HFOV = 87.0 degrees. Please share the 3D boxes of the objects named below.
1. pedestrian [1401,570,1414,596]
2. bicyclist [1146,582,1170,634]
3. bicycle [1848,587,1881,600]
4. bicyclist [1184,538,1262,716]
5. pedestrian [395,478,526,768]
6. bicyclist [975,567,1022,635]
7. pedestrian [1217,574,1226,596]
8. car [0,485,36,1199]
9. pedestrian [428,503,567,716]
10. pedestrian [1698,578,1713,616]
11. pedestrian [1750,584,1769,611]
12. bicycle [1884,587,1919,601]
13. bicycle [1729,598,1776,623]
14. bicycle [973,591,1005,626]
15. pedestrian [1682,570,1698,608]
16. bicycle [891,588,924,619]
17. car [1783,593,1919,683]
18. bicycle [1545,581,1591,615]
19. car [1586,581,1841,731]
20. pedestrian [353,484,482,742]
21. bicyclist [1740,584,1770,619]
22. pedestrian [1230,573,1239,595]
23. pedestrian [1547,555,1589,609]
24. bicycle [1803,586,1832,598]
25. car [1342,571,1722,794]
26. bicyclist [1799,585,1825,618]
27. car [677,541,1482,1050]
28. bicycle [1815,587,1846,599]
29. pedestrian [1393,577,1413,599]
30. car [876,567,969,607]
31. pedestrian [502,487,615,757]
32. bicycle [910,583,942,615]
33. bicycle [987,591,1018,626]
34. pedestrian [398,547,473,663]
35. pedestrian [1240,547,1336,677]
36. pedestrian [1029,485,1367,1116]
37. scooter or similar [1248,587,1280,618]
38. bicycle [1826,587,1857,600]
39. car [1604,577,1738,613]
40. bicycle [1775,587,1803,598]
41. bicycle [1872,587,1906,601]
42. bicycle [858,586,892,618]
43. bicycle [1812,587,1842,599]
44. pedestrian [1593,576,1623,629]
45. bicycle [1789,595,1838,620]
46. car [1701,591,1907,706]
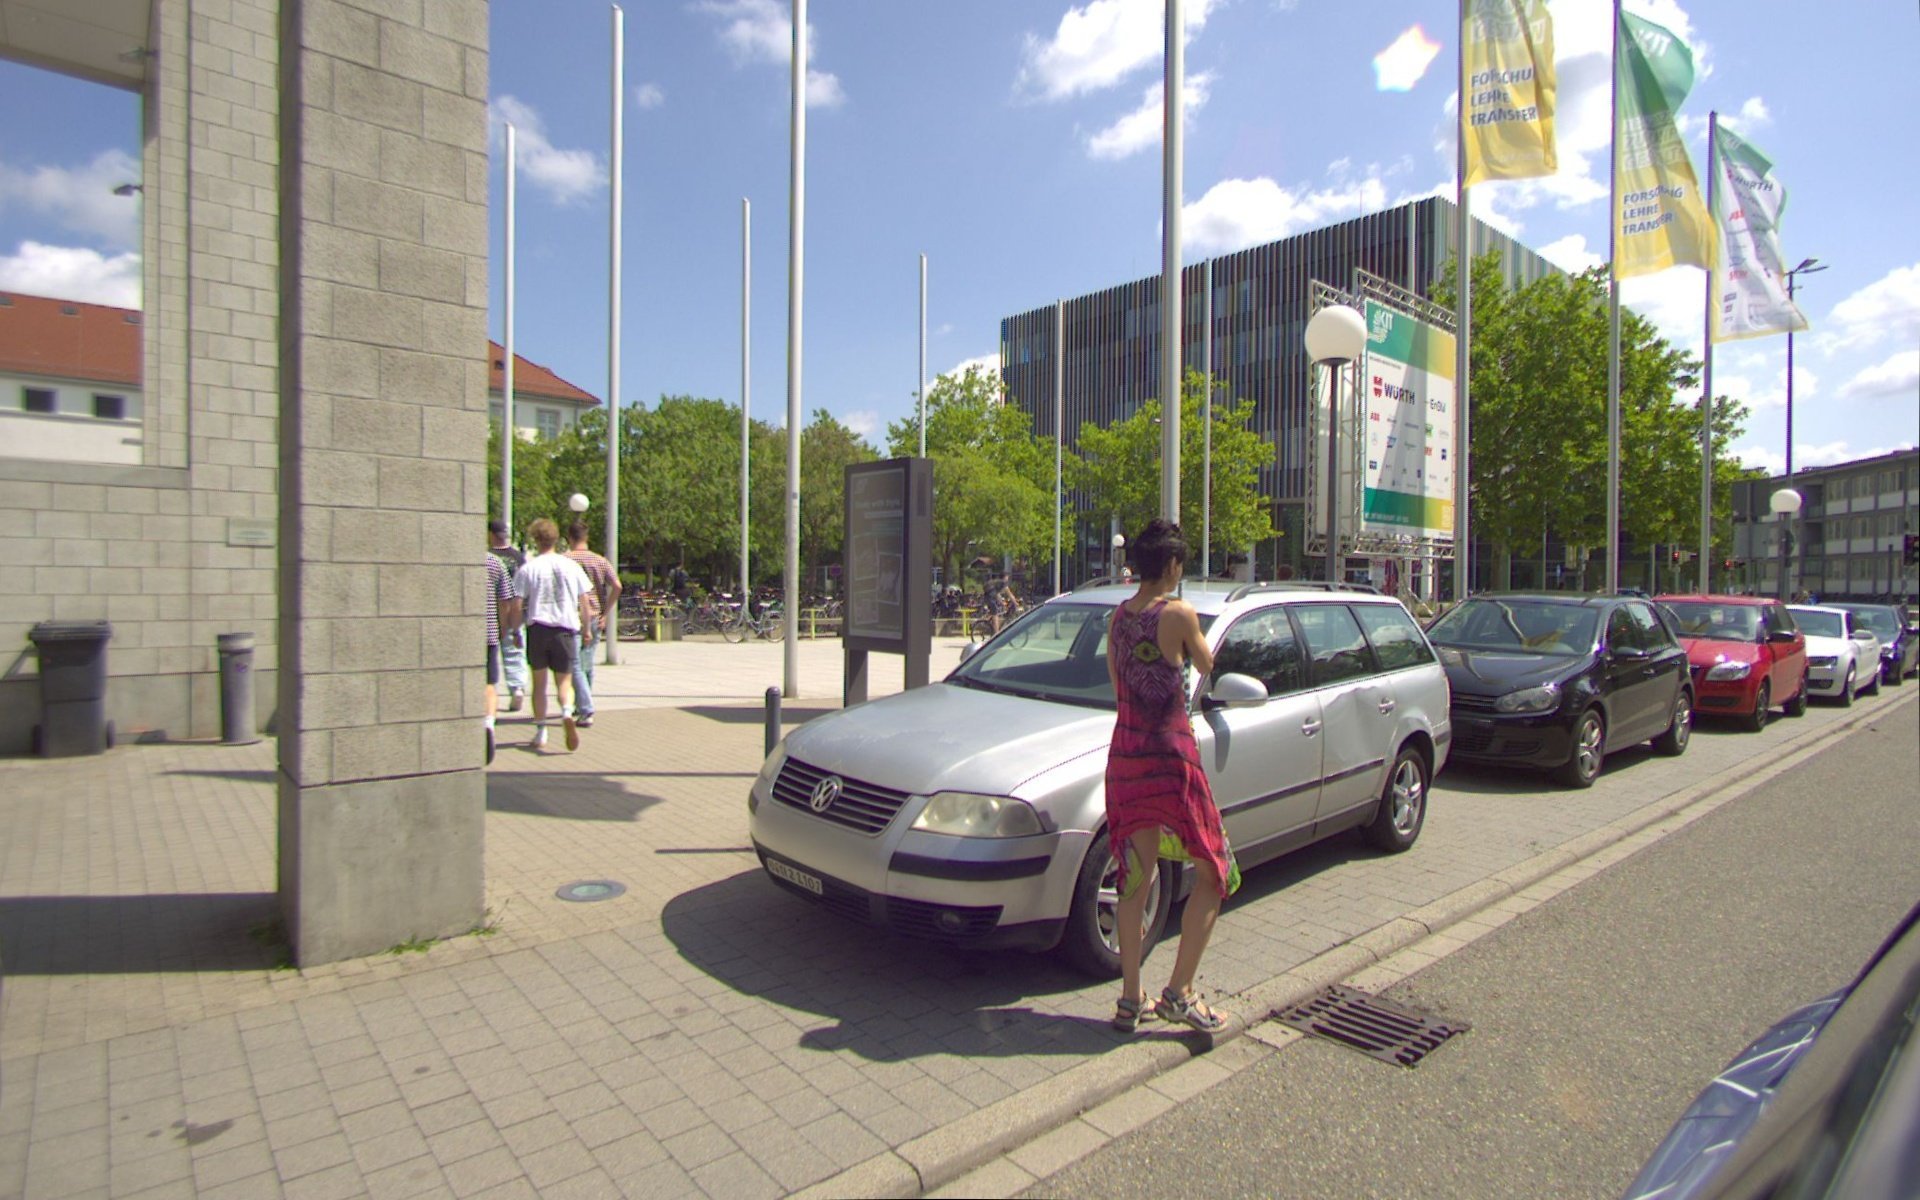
[{"bbox_3d":[32.134,-1.196,72.708,0.781,1.865,0.512,1,0,28],"label":"pedestrian"},{"bbox_3d":[5.300,0.207,27.074,0.598,1.337,0.740,1,0,11],"label":"bicyclist"},{"bbox_3d":[69.041,-0.487,77.245,1.752,0.967,0.525,1,3,22],"label":"bicycle"},{"bbox_3d":[2.456,0.227,9.514,0.653,1.583,0.929,1,1,14],"label":"bicyclist"},{"bbox_3d":[-3.630,0.145,7.341,0.721,1.949,0.784,0,1,-37],"label":"pedestrian"},{"bbox_3d":[0.926,0.025,24.180,0.864,1.589,0.681,1,0,-41],"label":"bicyclist"},{"bbox_3d":[22.313,-1.302,86.381,0.552,1.864,0.554,1,2,42],"label":"pedestrian"},{"bbox_3d":[-3.492,0.572,0.894,3.938,1.515,1.616,0,1,-43],"label":"car"},{"bbox_3d":[-4.574,0.071,9.991,1.003,1.944,1.097,0,1,-40],"label":"pedestrian"},{"bbox_3d":[36.942,-0.138,50.170,0.571,1.864,0.411,1,2,34],"label":"pedestrian"},{"bbox_3d":[54.244,-0.178,68.649,0.834,1.812,0.672,0,0,23],"label":"pedestrian"},{"bbox_3d":[68.480,-0.425,73.648,1.752,0.967,0.525,1,3,22],"label":"bicycle"},{"bbox_3d":[38.296,0.491,48.901,1.651,1.138,0.690,0,1,22],"label":"bicycle"},{"bbox_3d":[1.013,0.267,34.944,0.596,1.112,1.758,0,2,18],"label":"bicycle"},{"bbox_3d":[36.419,-0.547,50.507,0.629,1.864,0.474,1,2,35],"label":"pedestrian"},{"bbox_3d":[-1.889,0.114,36.797,0.596,1.113,1.757,0,0,18],"label":"bicycle"},{"bbox_3d":[17.355,0.623,19.322,4.862,1.417,1.722,-1,3,-41],"label":"car"},{"bbox_3d":[21.777,-0.068,36.251,1.857,1.086,0.817,4,0,-40],"label":"bicycle"},{"bbox_3d":[9.440,0.573,12.567,4.074,1.515,1.618,0,3,-41],"label":"car"},{"bbox_3d":[-4.378,0.086,8.172,0.724,1.949,0.739,1,1,44],"label":"pedestrian"},{"bbox_3d":[38.377,0.063,48.866,0.987,1.636,0.653,0,1,21],"label":"bicyclist"},{"bbox_3d":[23.077,-1.367,84.983,0.552,1.864,0.554,1,2,42],"label":"pedestrian"},{"bbox_3d":[21.734,-0.641,36.192,1.155,1.842,0.856,5,0,-40],"label":"pedestrian"},{"bbox_3d":[70.595,-0.645,83.339,1.752,0.967,0.525,1,3,22],"label":"bicycle"},{"bbox_3d":[5.213,0.576,9.013,3.930,1.548,1.722,1,1,-41],"label":"car"},{"bbox_3d":[40.512,0.051,48.146,0.777,1.557,0.652,0,1,25],"label":"bicyclist"},{"bbox_3d":[0.996,0.547,5.282,4.492,1.548,1.721,-1,3,-45],"label":"car"},{"bbox_3d":[69.762,-0.559,81.081,1.752,0.967,0.525,1,3,22],"label":"bicycle"},{"bbox_3d":[33.564,-0.909,76.664,1.162,1.671,1.014,0,1,-40],"label":"pedestrian"},{"bbox_3d":[-1.918,-0.709,50.197,1.872,1.887,4.931,-1,2,-43],"label":"car"},{"bbox_3d":[-3.105,0.149,7.804,0.583,1.949,0.785,0,1,-41],"label":"pedestrian"},{"bbox_3d":[-1.221,-0.043,36.481,0.596,1.112,1.757,1,1,18],"label":"bicycle"},{"bbox_3d":[1.437,0.270,34.088,0.596,1.112,1.758,0,2,18],"label":"bicycle"},{"bbox_3d":[-7.730,0.068,14.931,0.680,1.660,0.736,1,1,11],"label":"pedestrian"},{"bbox_3d":[4.669,0.149,14.394,0.984,1.762,0.919,0,1,-41],"label":"pedestrian"},{"bbox_3d":[0.811,0.541,3.365,1.023,1.738,0.623,0,1,-44],"label":"pedestrian"},{"bbox_3d":[11.689,0.088,38.975,0.347,1.180,1.191,-2,3,-40],"label":"scooter or similar"},{"bbox_3d":[69.492,-0.516,79.800,1.752,0.967,0.525,1,3,22],"label":"bicycle"},{"bbox_3d":[32.553,-0.244,46.415,1.965,1.548,4.709,0,1,-41],"label":"car"},{"bbox_3d":[71.737,-0.647,87.589,1.752,0.967,0.525,1,3,22],"label":"bicycle"},{"bbox_3d":[68.789,-0.446,74.934,1.752,0.967,0.525,1,3,22],"label":"bicycle"},{"bbox_3d":[-3.059,0.051,36.666,0.596,1.112,1.757,0,1,18],"label":"bicycle"},{"bbox_3d":[70.126,-0.567,81.891,1.752,0.967,0.525,1,3,22],"label":"bicycle"},{"bbox_3d":[22.461,0.087,35.075,0.599,1.823,0.596,2,-1,-7],"label":"pedestrian"},{"bbox_3d":[40.579,0.354,48.124,1.653,1.138,0.689,0,1,25],"label":"bicycle"},{"bbox_3d":[13.086,0.632,15.601,4.361,1.417,1.722,-1,4,-41],"label":"car"}]
